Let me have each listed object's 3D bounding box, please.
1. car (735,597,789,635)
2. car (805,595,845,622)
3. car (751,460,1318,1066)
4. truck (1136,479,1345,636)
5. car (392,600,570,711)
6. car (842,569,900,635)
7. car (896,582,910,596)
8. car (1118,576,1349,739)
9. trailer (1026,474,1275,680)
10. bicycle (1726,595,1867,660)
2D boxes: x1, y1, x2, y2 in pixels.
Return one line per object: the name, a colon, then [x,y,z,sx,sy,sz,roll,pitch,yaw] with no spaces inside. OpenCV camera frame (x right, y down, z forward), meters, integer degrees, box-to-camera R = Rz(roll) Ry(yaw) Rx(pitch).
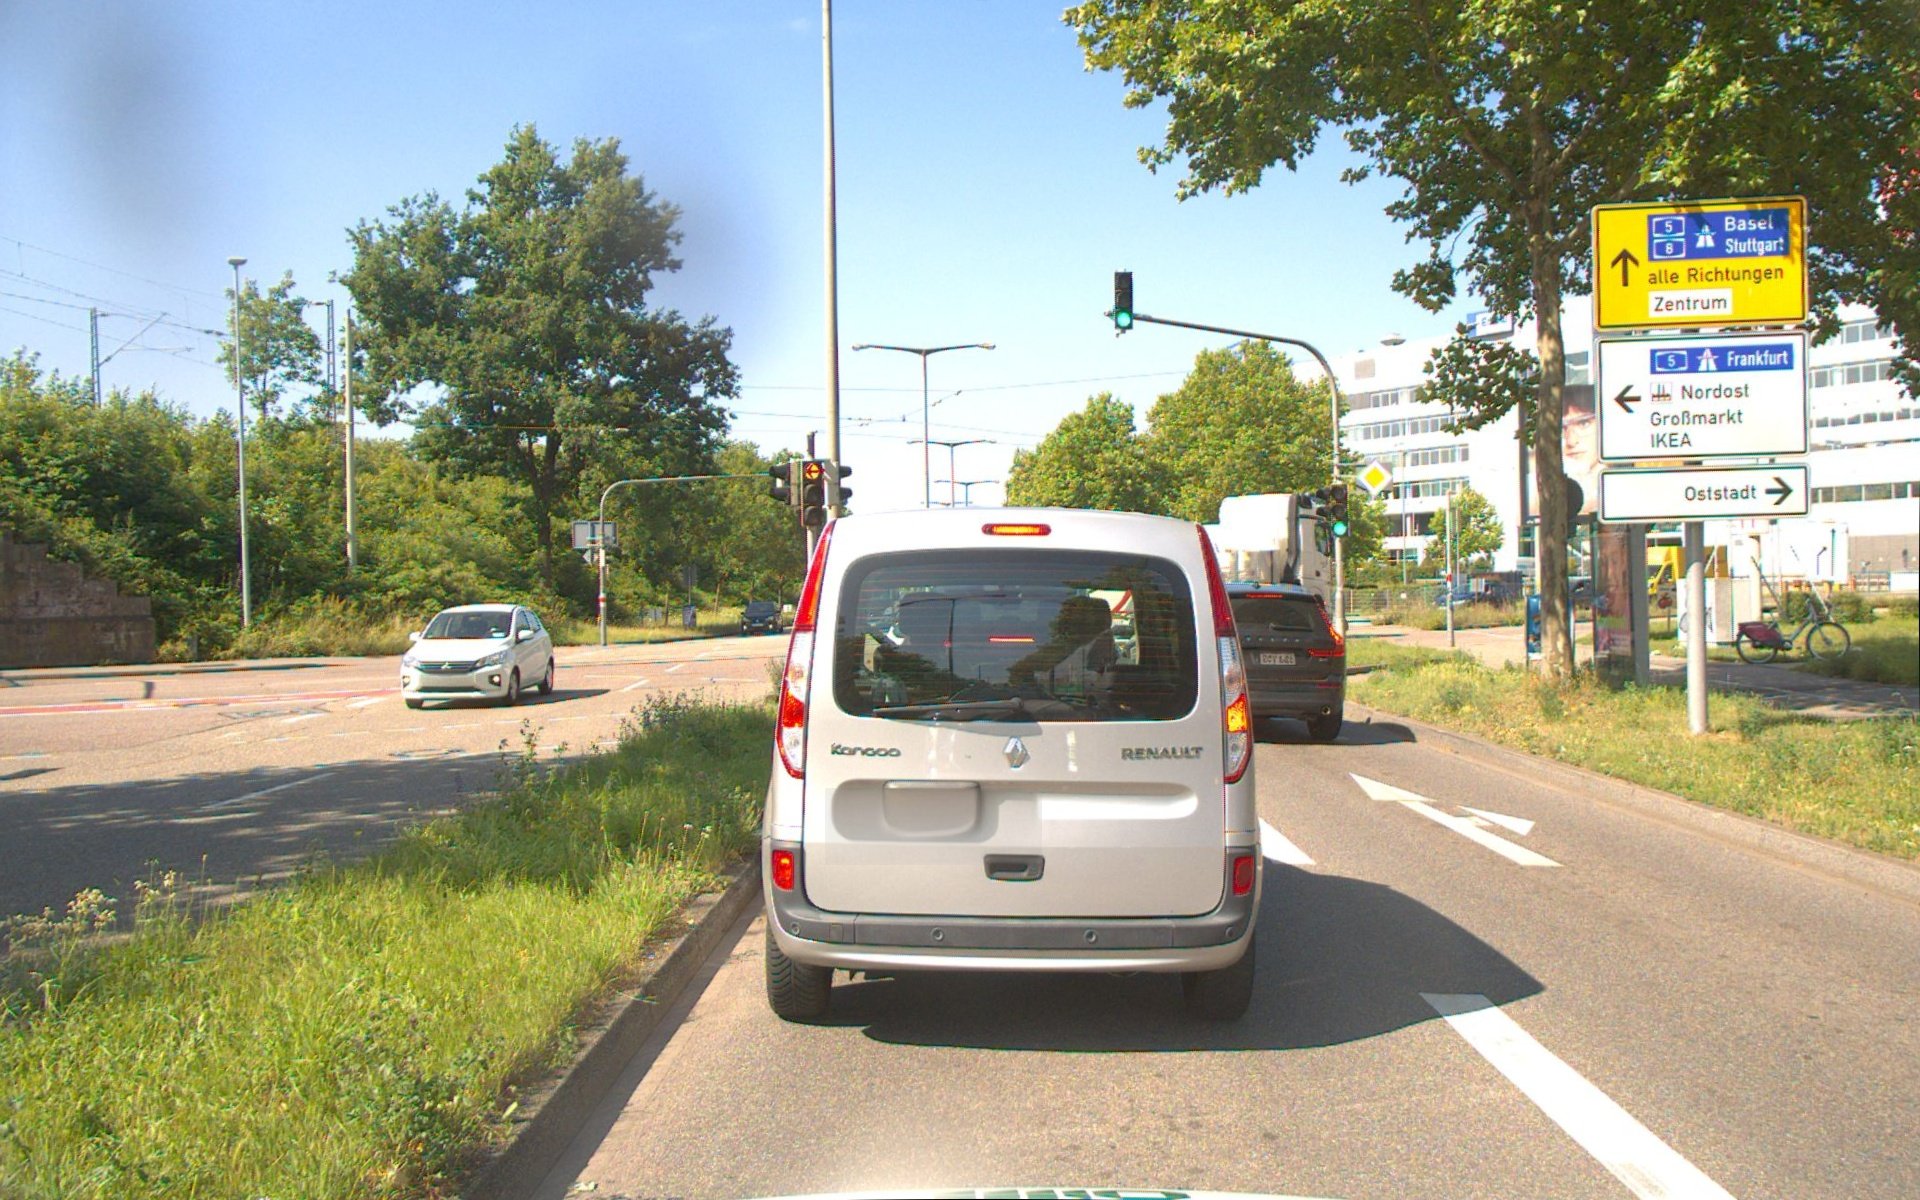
car: [-9.162,0.727,76.708,1.872,1.670,3.738,-1,0,2]
car: [-8.294,0.532,101.921,1.952,1.567,4.237,-1,0,2]
car: [0.210,0.521,7.190,1.750,1.870,3.999,1,0,-1]
truck: [7.440,-0.980,42.990,2.858,3.707,7.172,1,0,31]
car: [-7.452,0.805,26.103,1.665,1.534,3.999,-1,1,-1]
car: [-3.691,0.098,69.589,1.952,2.653,5.135,-1,0,2]
car: [-8.648,-1.664,250.615,1.849,2.049,4.001,1,0,1]
car: [2.979,0.589,18.959,1.837,1.619,4.432,1,0,-1]
trailer: [4.567,-0.375,36.001,2.839,3.686,12.690,1,0,18]
bicycle: [13.710,0.452,27.161,1.959,1.031,0.621,-1,0,16]
